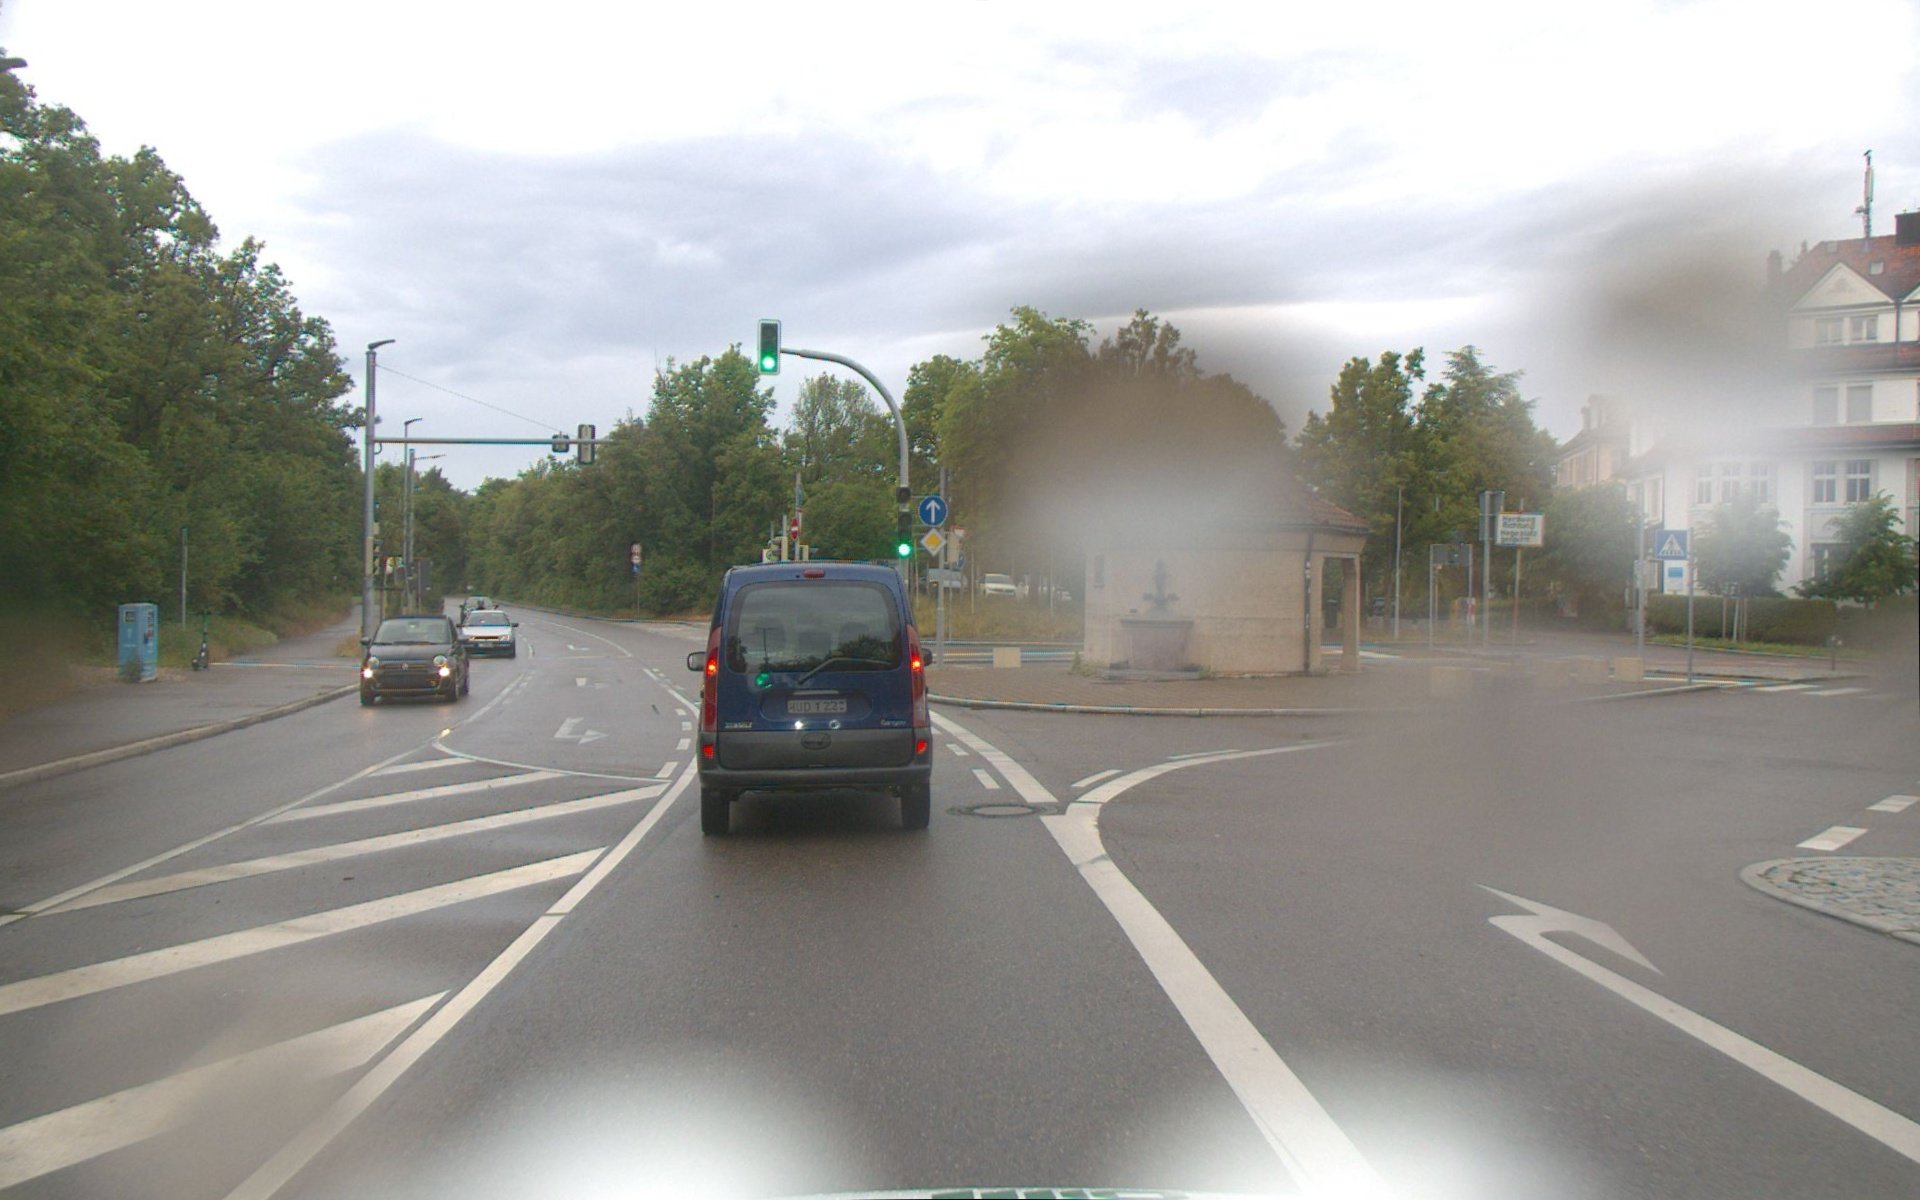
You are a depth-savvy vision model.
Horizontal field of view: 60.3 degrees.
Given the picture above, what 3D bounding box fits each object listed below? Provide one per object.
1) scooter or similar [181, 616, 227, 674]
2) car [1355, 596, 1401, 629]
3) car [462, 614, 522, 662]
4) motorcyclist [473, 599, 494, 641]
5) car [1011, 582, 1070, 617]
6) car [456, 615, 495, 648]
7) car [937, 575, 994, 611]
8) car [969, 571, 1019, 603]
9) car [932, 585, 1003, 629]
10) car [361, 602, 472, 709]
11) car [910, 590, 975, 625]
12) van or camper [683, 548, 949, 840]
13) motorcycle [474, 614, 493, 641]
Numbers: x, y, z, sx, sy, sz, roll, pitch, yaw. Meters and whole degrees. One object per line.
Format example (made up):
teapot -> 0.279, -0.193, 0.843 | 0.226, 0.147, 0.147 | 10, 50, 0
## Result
scooter or similar -> -16.411, 0.961, 35.935 | 0.507, 1.233, 1.466 | 1, 0, -8
car -> 26.402, 0.799, 104.503 | 1.952, 2.049, 4.001 | 1, 0, 2
car -> -14.536, 1.150, 51.359 | 1.713, 1.376, 4.190 | -1, 0, -16
motorcyclist -> -19.140, 0.781, 66.476 | 0.732, 1.661, 0.924 | -1, 0, -12
car -> 3.755, 0.001, 77.369 | 1.851, 1.506, 4.058 | 2, -1, -10
car -> -24.942, 1.595, 85.224 | 1.759, 1.609, 4.543 | -1, 0, -15
car -> 0.250, -0.337, 84.354 | 1.958, 1.691, 4.460 | 3, 0, -11
car -> 1.788, -0.652, 87.819 | 1.851, 1.506, 4.058 | 3, -1, -10
car -> 0.301, 0.271, 70.166 | 1.961, 1.691, 3.984 | 3, 0, -15
car -> -9.690, 0.934, 29.707 | 1.549, 1.761, 3.761 | -1, 0, -13
car -> -0.825, 0.357, 75.841 | 1.960, 1.506, 4.267 | 2, -1, -15
van or camper -> -1.161, 0.620, 12.614 | 1.680, 1.858, 3.993 | 1, 0, -7
motorcycle -> -19.151, 1.090, 66.499 | 0.583, 1.069, 1.993 | -1, 0, -12
